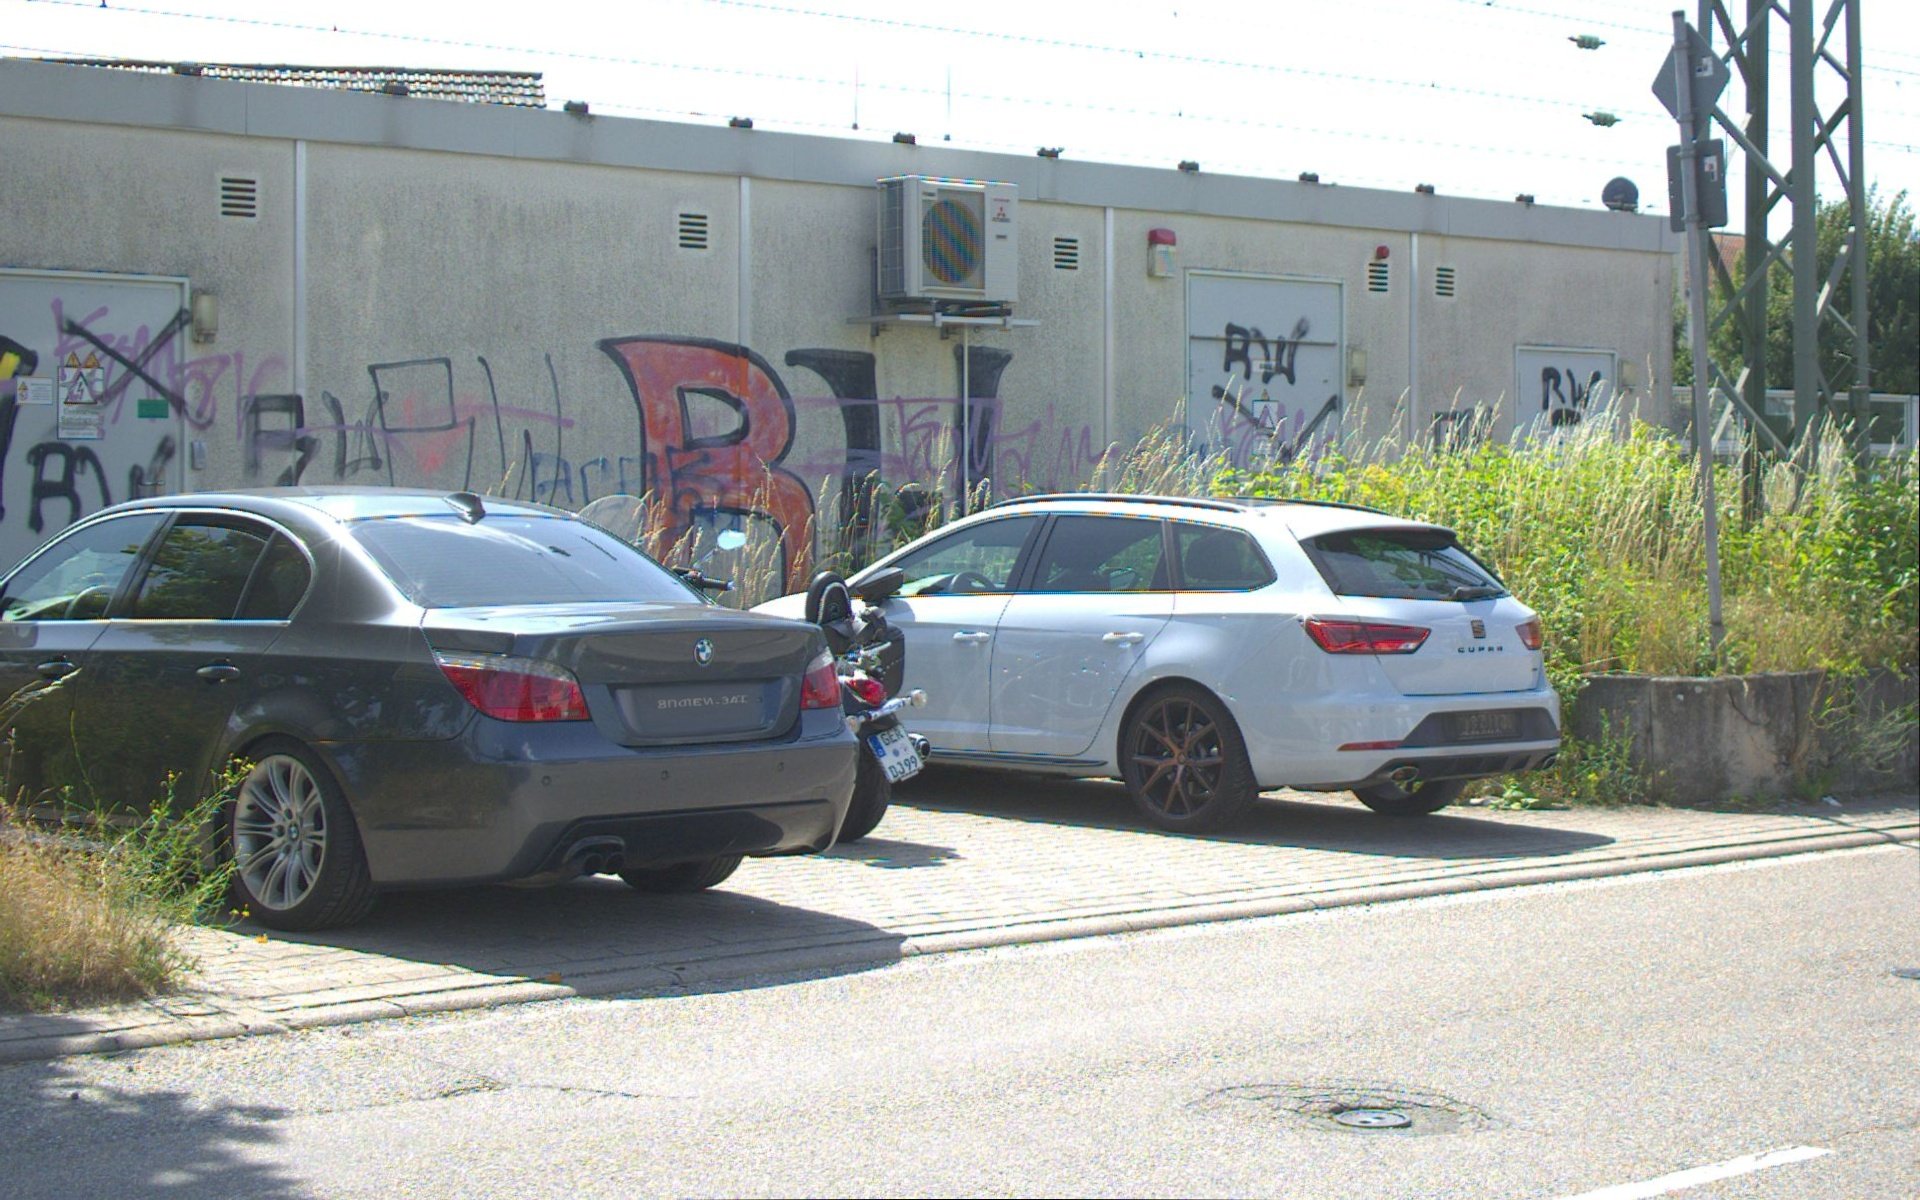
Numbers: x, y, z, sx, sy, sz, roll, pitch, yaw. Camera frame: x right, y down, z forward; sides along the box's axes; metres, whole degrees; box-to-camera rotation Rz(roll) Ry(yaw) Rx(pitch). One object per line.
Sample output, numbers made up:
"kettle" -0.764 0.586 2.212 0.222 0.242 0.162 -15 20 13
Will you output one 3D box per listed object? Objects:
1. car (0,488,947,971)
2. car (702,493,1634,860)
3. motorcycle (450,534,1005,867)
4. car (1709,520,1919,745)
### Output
"car" -2.311 0.330 12.121 4.437 1.406 1.783 1 2 40
"car" 0.853 0.250 15.865 4.084 1.397 1.782 3 3 44
"motorcycle" -1.040 0.367 14.511 2.731 1.276 0.716 1 2 45
"car" 7.052 0.229 22.213 1.669 1.364 4.084 -3 4 -44
